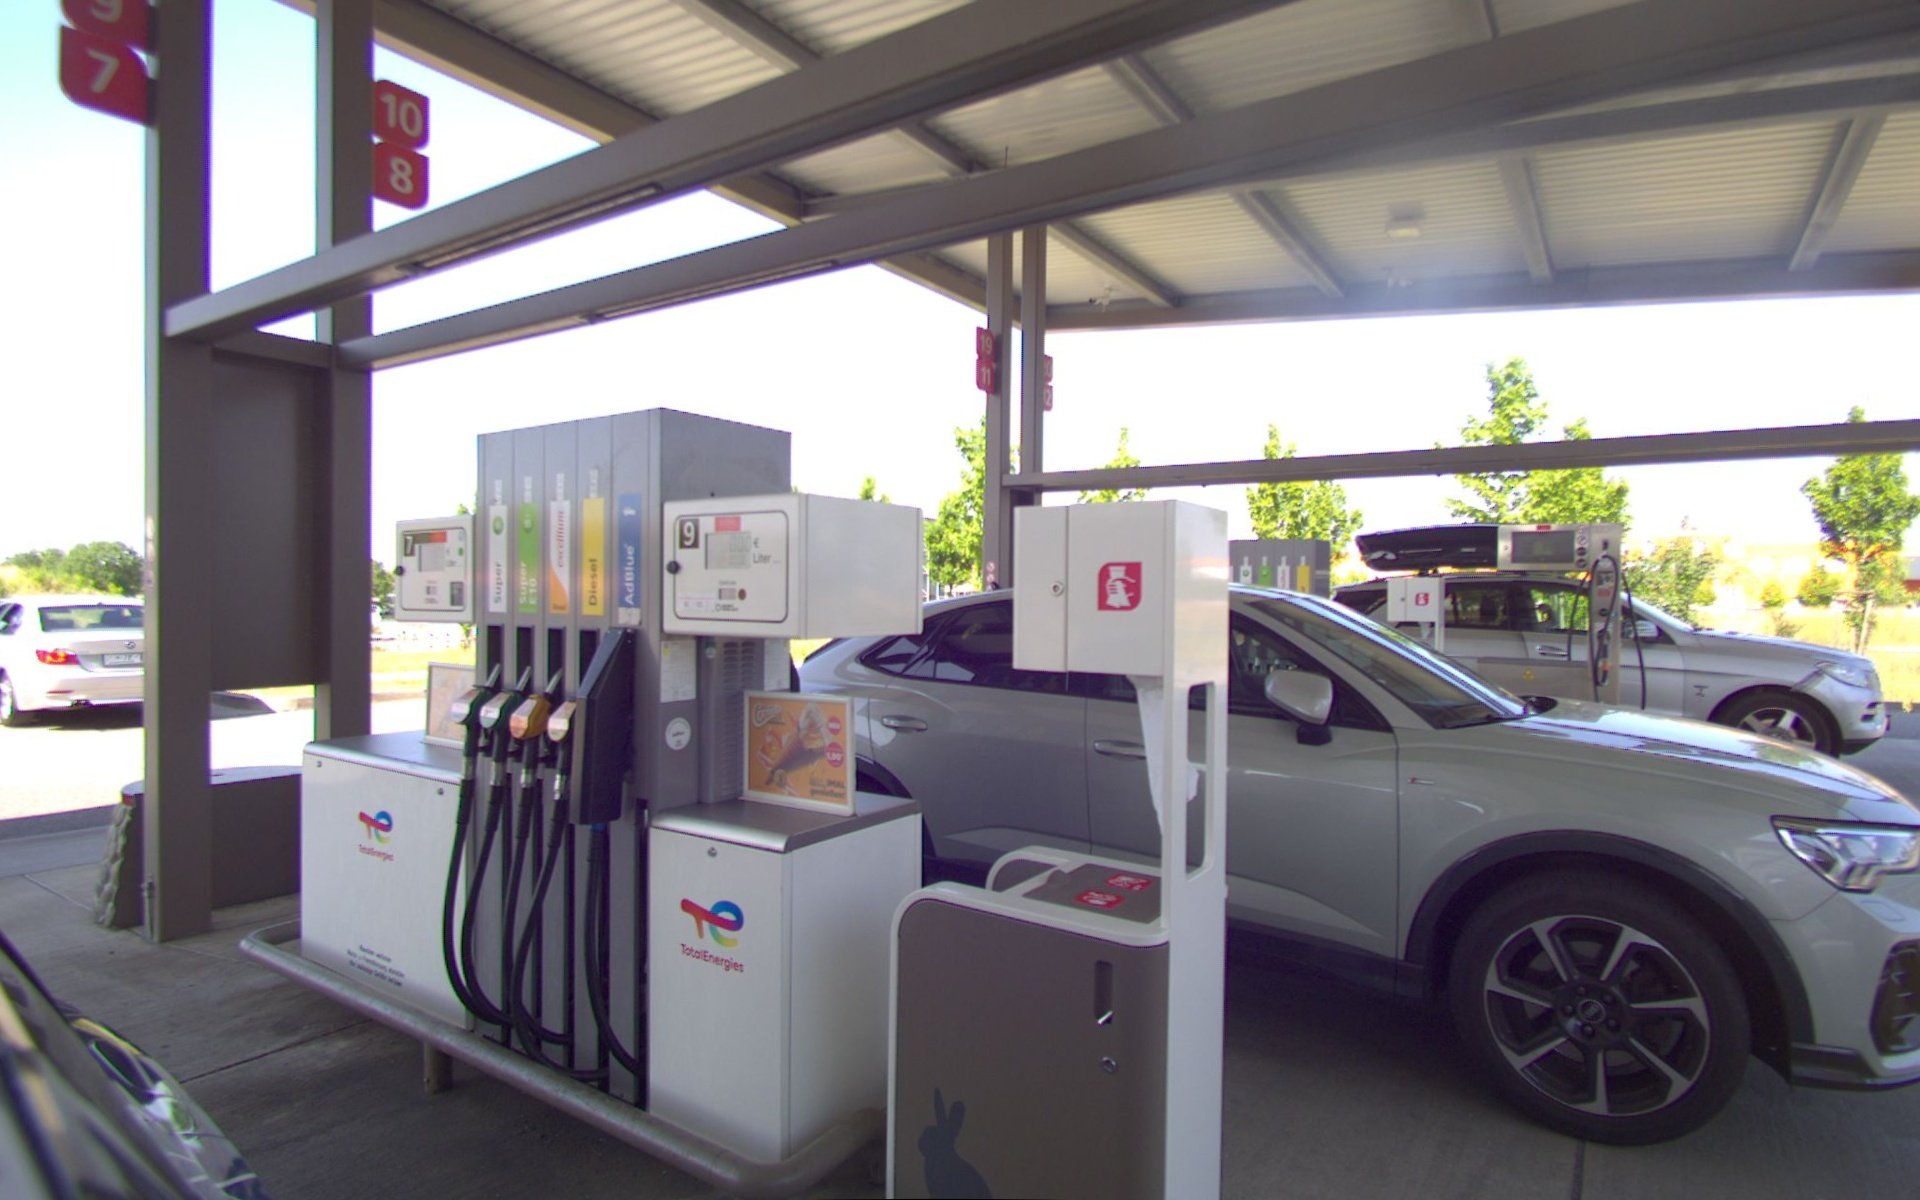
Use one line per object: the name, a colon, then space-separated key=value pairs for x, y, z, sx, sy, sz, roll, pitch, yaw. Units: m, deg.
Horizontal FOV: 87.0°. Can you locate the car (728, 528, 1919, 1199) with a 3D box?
car: x=1.220 y=0.621 z=4.033 sx=4.315 sy=1.553 sz=1.765 roll=0 pitch=0 yaw=35

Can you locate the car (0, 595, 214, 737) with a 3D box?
car: x=-11.184 y=0.691 z=12.629 sx=4.313 sy=1.439 sz=1.772 roll=1 pitch=0 yaw=36

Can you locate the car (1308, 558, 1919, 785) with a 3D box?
car: x=5.784 y=0.544 z=9.489 sx=4.519 sy=1.700 sz=1.846 roll=0 pitch=0 yaw=31
